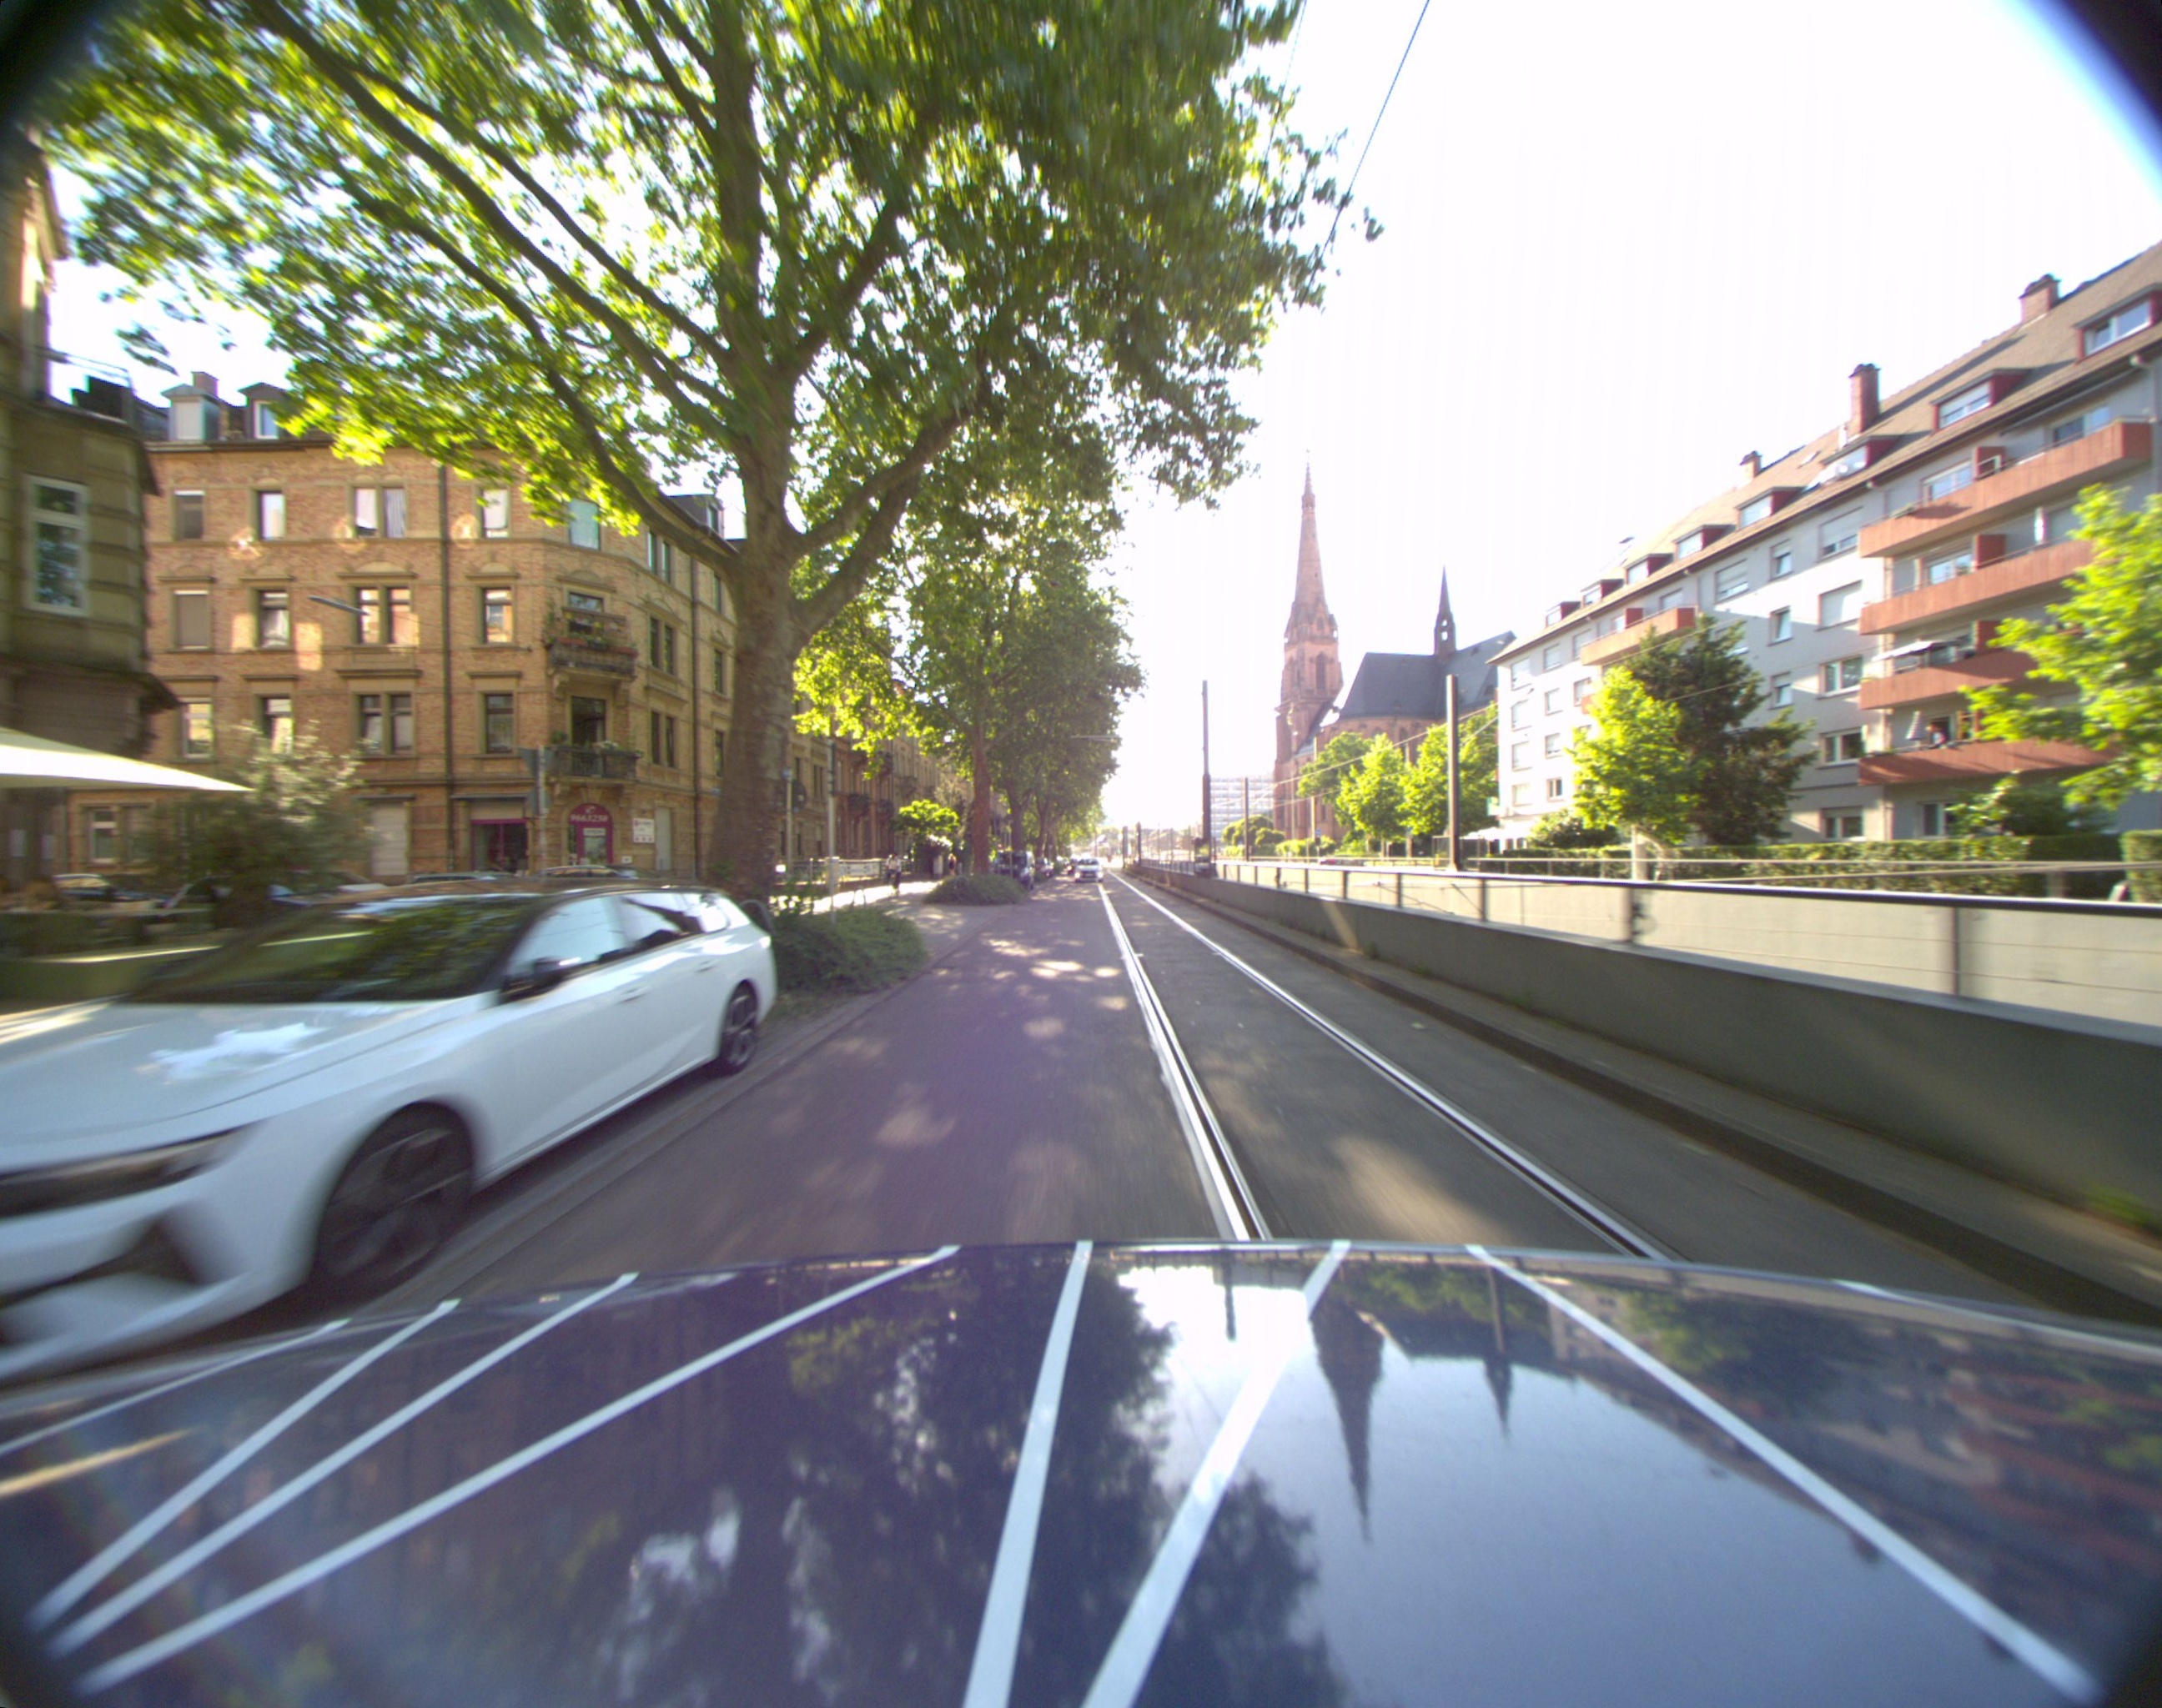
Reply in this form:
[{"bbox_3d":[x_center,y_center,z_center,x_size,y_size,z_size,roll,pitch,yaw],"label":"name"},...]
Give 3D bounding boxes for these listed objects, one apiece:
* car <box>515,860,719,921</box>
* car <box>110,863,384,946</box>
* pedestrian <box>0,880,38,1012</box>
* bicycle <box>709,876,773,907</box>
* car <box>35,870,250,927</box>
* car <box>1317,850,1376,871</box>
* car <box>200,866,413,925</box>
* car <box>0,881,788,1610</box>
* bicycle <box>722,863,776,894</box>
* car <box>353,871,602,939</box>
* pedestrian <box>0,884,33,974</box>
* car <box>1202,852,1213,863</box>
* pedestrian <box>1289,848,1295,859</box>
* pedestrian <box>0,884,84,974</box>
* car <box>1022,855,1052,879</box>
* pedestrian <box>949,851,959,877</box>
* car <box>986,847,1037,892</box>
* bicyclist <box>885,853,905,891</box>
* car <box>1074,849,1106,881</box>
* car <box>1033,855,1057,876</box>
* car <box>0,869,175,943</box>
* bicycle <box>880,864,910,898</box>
[{"bbox_3d":[-13.203,0.999,21.872,4.615,1.539,1.922,-1,0,-4],"label":"car"},{"bbox_3d":[-17.819,1.051,16.376,3.905,1.637,1.893,-1,0,3],"label":"car"},{"bbox_3d":[-11.046,0.919,7.437,0.714,1.292,0.662,-1,1,0],"label":"pedestrian"},{"bbox_3d":[-10.511,1.148,23.545,1.696,0.911,0.602,-1,1,-11],"label":"bicycle"},{"bbox_3d":[-26.919,1.253,21.892,3.997,1.486,1.742,-1,1,0],"label":"car"},{"bbox_3d":[22.062,0.532,63.225,4.412,1.495,1.973,-3,0,-24],"label":"car"},{"bbox_3d":[-22.050,1.147,21.778,4.130,1.539,1.743,-1,0,-4],"label":"car"},{"bbox_3d":[-3.357,0.984,3.984,1.807,1.469,4.646,-1,0,0],"label":"car"},{"bbox_3d":[-12.708,0.929,29.127,1.867,1.147,0.476,-1,1,4],"label":"bicycle"},{"bbox_3d":[-13.066,1.080,16.653,3.998,1.356,1.743,-1,-1,-2],"label":"car"},{"bbox_3d":[-14.091,0.967,9.735,0.557,1.131,0.526,-1,1,0],"label":"pedestrian"},{"bbox_3d":[23.704,0.600,141.949,1.997,2.002,5.015,1,1,10],"label":"car"},{"bbox_3d":[29.578,-0.064,106.530,0.587,1.480,0.946,-3,0,-2],"label":"pedestrian"},{"bbox_3d":[-13.415,0.946,9.735,0.557,1.095,0.526,-1,1,0],"label":"pedestrian"},{"bbox_3d":[-2.973,0.863,52.385,1.718,1.540,4.500,0,1,1],"label":"car"},{"bbox_3d":[-8.105,0.633,48.567,0.531,1.618,0.618,1,0,1],"label":"pedestrian"},{"bbox_3d":[-3.201,0.689,36.088,1.999,2.002,5.201,0,0,-1],"label":"car"},{"bbox_3d":[-6.900,0.658,28.182,0.544,1.372,0.644,-3,0,-1],"label":"bicyclist"},{"bbox_3d":[0.592,0.626,45.897,1.823,1.729,3.999,0,2,2],"label":"car"},{"bbox_3d":[-2.749,0.858,58.607,1.719,1.454,3.999,0,1,0],"label":"car"},{"bbox_3d":[-22.928,1.106,16.740,3.655,1.477,1.926,-1,0,1],"label":"car"},{"bbox_3d":[-6.888,0.986,28.210,0.562,1.171,2.226,-3,0,-1],"label":"bicycle"}]
